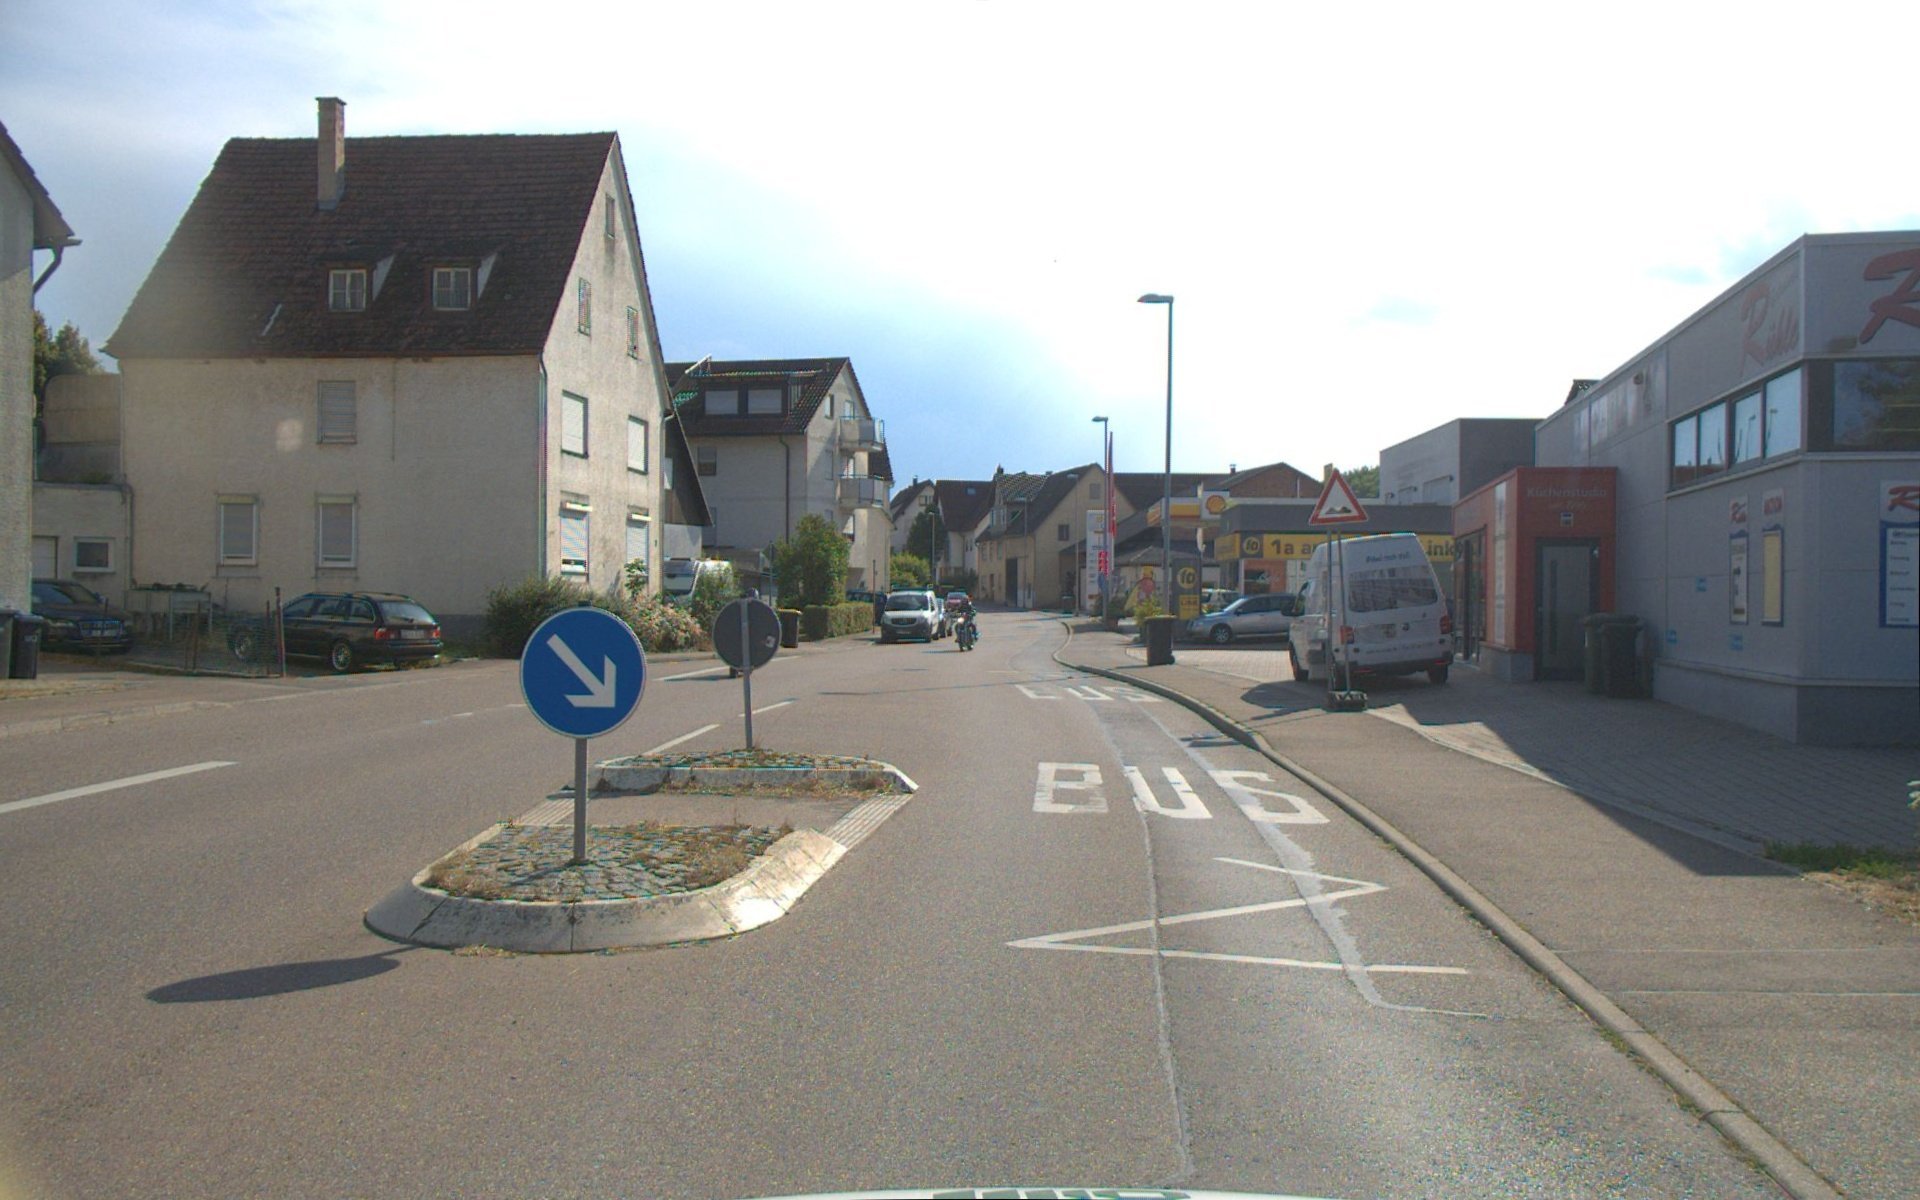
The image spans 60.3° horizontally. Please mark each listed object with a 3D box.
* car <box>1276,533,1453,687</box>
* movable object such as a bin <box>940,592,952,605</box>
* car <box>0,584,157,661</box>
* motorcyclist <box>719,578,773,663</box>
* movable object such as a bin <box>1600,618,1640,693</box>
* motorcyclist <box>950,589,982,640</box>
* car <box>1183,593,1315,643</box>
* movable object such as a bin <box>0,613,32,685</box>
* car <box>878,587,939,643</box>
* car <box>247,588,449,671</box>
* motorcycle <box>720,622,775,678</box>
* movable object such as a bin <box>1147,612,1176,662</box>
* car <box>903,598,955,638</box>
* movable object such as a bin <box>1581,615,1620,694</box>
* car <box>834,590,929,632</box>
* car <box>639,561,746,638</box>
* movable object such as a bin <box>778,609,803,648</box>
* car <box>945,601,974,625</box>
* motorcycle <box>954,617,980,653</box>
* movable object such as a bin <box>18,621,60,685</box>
[{"bbox_3d":[6.867,0.158,28.653,1.799,2.416,5.178,0,0,0],"label":"car"},{"bbox_3d":[-1.327,-0.128,157.667,1.139,1.189,0.653,0,0,-9],"label":"movable object such as a bin"},{"bbox_3d":[-18.259,0.415,33.314,3.909,1.384,1.685,2,1,26],"label":"car"},{"bbox_3d":[-4.077,0.399,31.596,0.720,1.553,1.017,3,-1,6],"label":"motorcyclist"},{"bbox_3d":[8.792,0.737,22.029,0.420,0.983,0.431,0,0,11],"label":"movable object such as a bin"},{"bbox_3d":[0.182,0.423,48.625,0.785,1.461,1.037,1,0,6],"label":"motorcyclist"},{"bbox_3d":[9.064,0.559,52.049,3.905,1.558,1.527,0,0,0],"label":"car"},{"bbox_3d":[-13.933,0.707,24.125,0.353,1.041,0.577,0,-2,20],"label":"movable object such as a bin"},{"bbox_3d":[-1.791,0.499,58.322,1.680,1.905,4.194,-1,0,4],"label":"car"},{"bbox_3d":[-12.037,0.542,32.482,3.914,1.458,1.649,2,1,31],"label":"car"},{"bbox_3d":[-4.066,0.941,31.740,0.527,1.030,2.029,2,0,7],"label":"motorcycle"},{"bbox_3d":[4.474,0.823,36.757,0.555,1.094,0.573,-1,0,-1],"label":"movable object such as a bin"},{"bbox_3d":[-1.170,0.661,64.002,1.637,1.477,3.836,-1,0,4],"label":"car"},{"bbox_3d":[8.806,0.743,22.756,0.420,1.061,0.490,0,0,11],"label":"movable object such as a bin"},{"bbox_3d":[-3.577,0.488,75.586,3.904,1.564,1.764,5,1,15],"label":"car"},{"bbox_3d":[-9.688,-0.046,60.432,2.112,2.641,6.099,1,0,8],"label":"car"},{"bbox_3d":[-4.911,0.829,47.837,0.598,1.120,0.576,1,-1,4],"label":"movable object such as a bin"},{"bbox_3d":[-0.040,0.844,108.453,1.675,1.460,3.777,-1,0,-4],"label":"car"},{"bbox_3d":[0.201,1.024,48.685,0.513,1.030,2.029,2,0,7],"label":"motorcycle"},{"bbox_3d":[-13.699,0.788,24.606,0.353,0.941,0.400,0,-2,20],"label":"movable object such as a bin"}]
